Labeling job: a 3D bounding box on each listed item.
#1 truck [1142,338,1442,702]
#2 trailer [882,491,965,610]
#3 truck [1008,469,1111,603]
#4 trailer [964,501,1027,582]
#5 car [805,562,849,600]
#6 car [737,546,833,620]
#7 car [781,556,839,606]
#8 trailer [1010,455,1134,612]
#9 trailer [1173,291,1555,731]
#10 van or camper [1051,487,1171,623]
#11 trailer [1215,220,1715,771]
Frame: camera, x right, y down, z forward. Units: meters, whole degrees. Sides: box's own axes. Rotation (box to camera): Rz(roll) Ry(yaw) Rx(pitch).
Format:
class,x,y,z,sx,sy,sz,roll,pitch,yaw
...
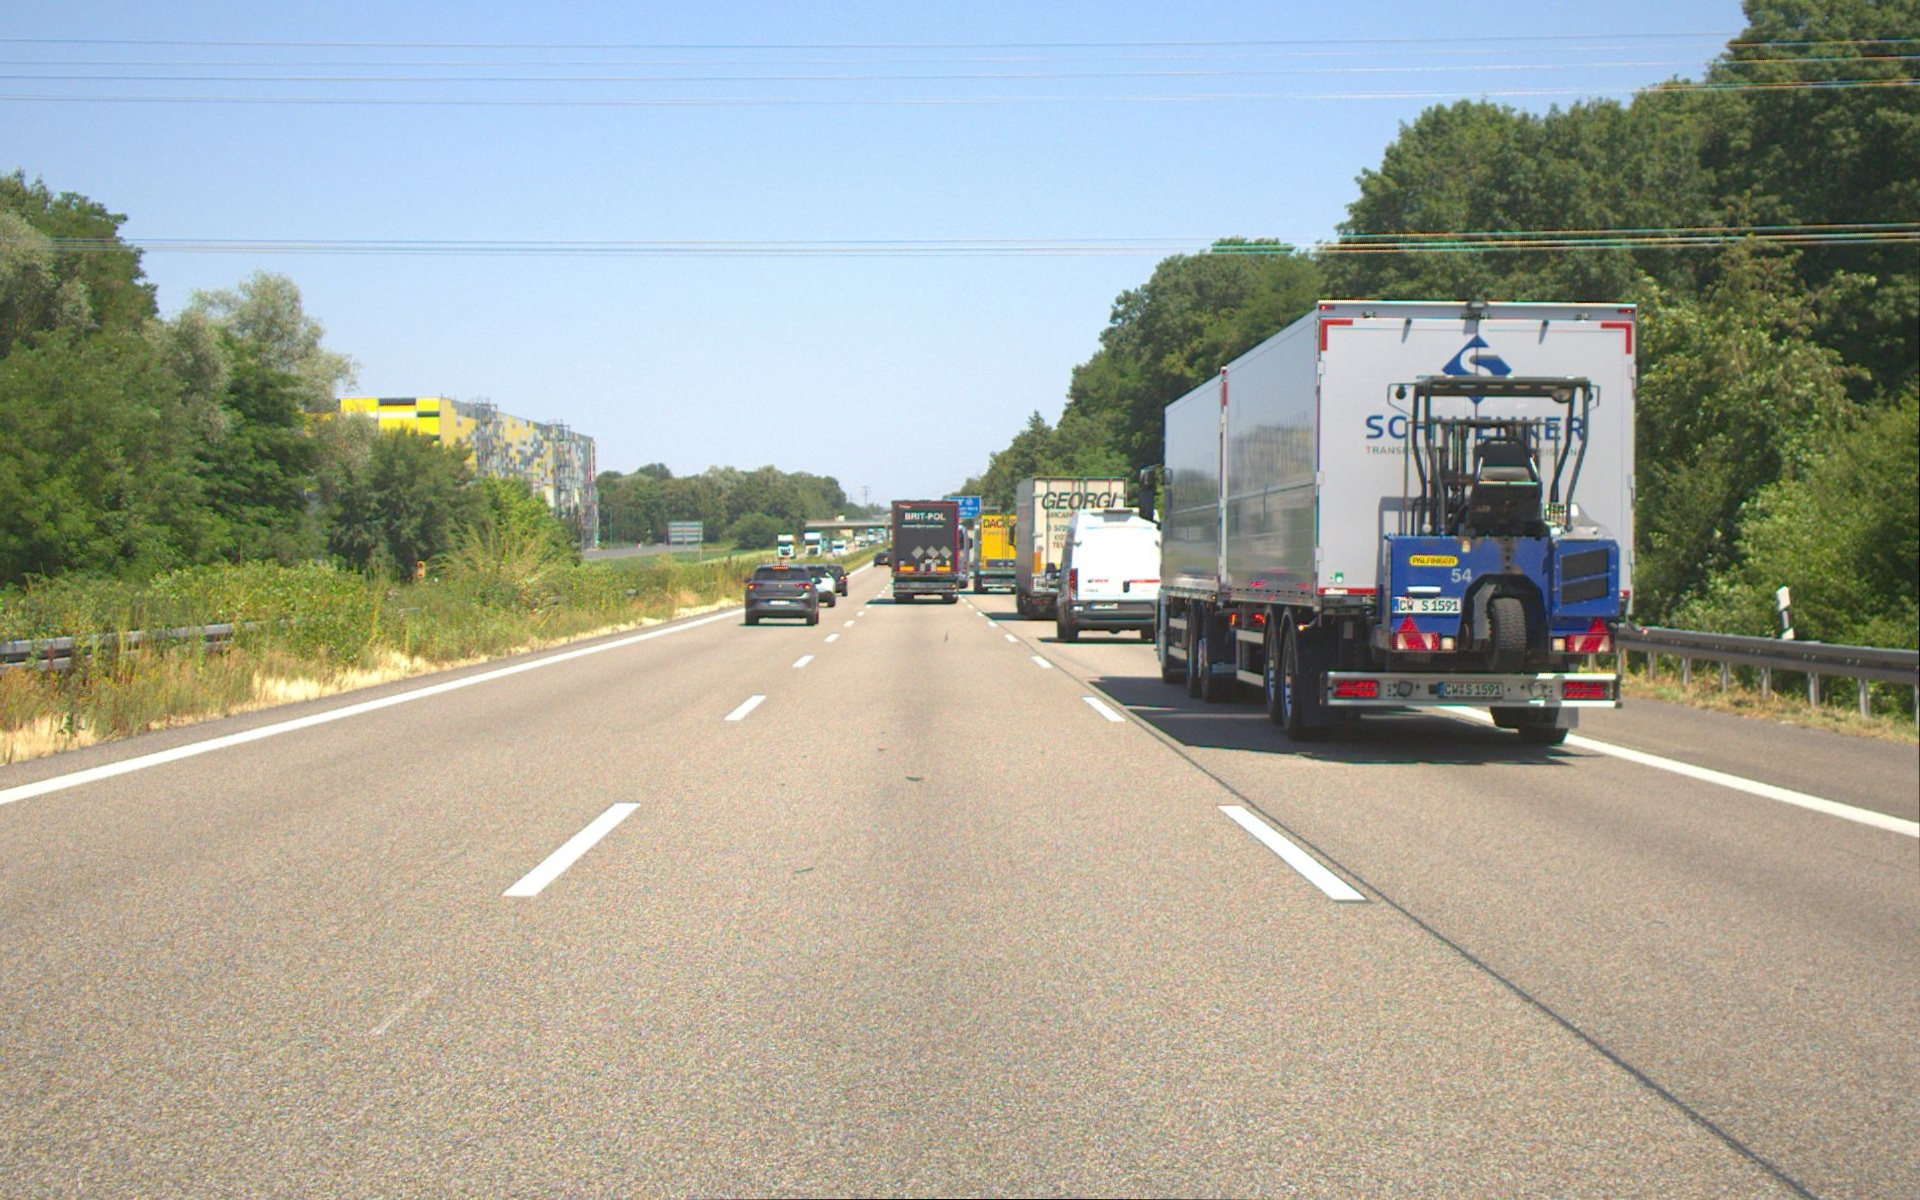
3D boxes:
class,x,y,z,sx,sy,sz,roll,pitch,yaw
truck,3.876,-0.927,41.716,2.889,4.016,6.870,1,1,0
trailer,-1.564,-1.968,137.975,3.106,4.491,14.897,0,1,-1
truck,3.081,-1.997,107.996,3.002,4.110,5.253,0,1,-1
trailer,1.742,-2.938,172.513,2.834,3.940,11.685,0,1,-1
car,-6.128,-0.896,158.703,1.941,1.700,4.000,0,1,-1
car,-4.419,-0.461,87.666,2.216,1.784,5.394,-1,1,-1
car,-5.351,-0.694,122.805,1.993,1.722,4.131,0,1,-1
trailer,3.168,-1.924,101.025,2.993,4.274,13.419,1,1,-1
trailer,3.962,-0.857,35.417,2.920,4.027,7.317,1,1,-1
van or camper,3.027,-0.928,70.090,2.022,2.628,6.487,1,1,-1
trailer,4.047,-0.816,29.572,2.945,4.049,8.128,1,1,-1
